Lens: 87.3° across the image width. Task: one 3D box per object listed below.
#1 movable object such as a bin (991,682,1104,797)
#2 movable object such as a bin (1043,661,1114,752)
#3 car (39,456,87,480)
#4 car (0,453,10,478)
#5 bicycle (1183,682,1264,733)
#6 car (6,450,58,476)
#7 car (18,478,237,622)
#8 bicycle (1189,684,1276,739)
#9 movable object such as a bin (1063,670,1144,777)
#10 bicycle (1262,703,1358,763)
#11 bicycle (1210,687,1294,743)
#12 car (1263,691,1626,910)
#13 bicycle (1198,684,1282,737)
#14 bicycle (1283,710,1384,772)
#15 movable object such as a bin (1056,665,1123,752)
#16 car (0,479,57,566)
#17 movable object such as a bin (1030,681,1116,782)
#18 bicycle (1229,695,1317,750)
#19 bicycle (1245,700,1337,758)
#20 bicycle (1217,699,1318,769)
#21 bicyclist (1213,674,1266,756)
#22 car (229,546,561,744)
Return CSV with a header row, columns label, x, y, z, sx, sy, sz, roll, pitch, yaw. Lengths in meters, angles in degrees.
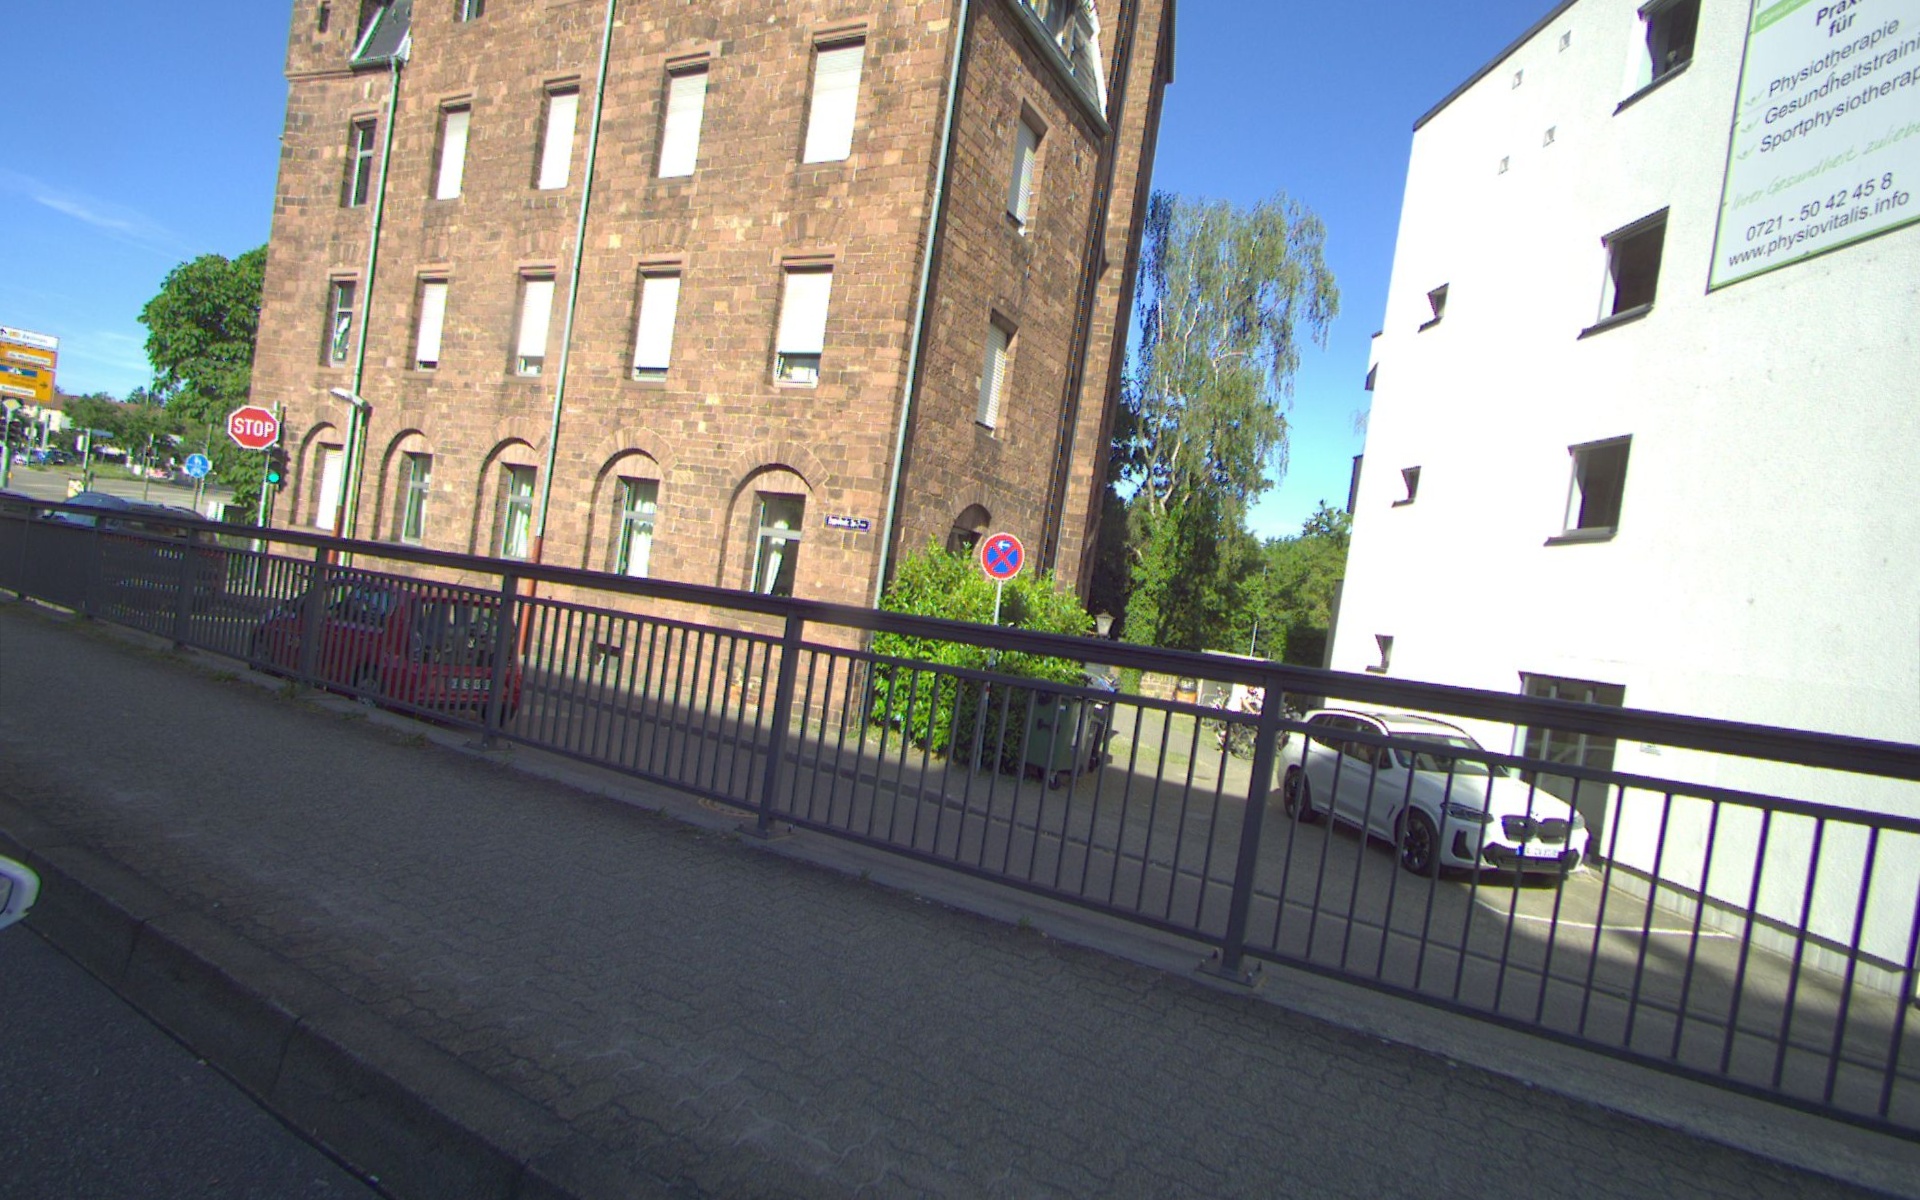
label,x,y,z,sx,sy,sz,roll,pitch,yaw
movable object such as a bin,1.187,1.847,13.525,1.011,1.307,1.005,10,0,29
movable object such as a bin,2.280,2.012,19.275,1.009,1.539,1.007,10,0,14
car,-82.312,-12.115,92.358,1.860,1.598,3.978,8,1,-22
car,-60.865,-8.562,60.988,1.963,1.459,4.293,9,1,19
bicycle,7.660,3.130,29.271,2.075,1.174,0.664,8,1,-9
car,-79.894,-11.751,86.656,1.860,1.598,3.978,8,1,-22
car,-14.704,-0.906,17.701,4.227,1.835,1.722,10,2,34
bicycle,7.402,3.021,27.386,2.075,1.174,0.664,8,1,-9
movable object such as a bin,2.396,2.012,16.668,1.009,1.539,1.007,10,0,14
bicycle,8.125,3.089,23.370,1.889,1.065,0.664,8,1,-6
bicycle,7.664,3.019,26.453,1.889,1.174,0.664,8,1,-6
car,5.963,2.400,13.155,1.814,1.707,4.521,8,0,-9
bicycle,7.904,3.128,28.418,2.075,1.174,0.664,8,1,-9
bicycle,8.329,3.133,22.456,1.889,1.065,0.664,8,1,-6
movable object such as a bin,2.641,2.178,20.464,1.009,1.539,1.007,10,0,14
car,-22.464,-1.943,23.156,4.232,1.623,1.722,10,1,39
movable object such as a bin,1.755,1.994,15.487,1.009,1.307,1.007,10,0,14
bicycle,7.865,3.077,25.286,1.889,1.065,0.664,8,1,-6
bicycle,7.970,3.108,24.258,1.889,1.065,0.664,8,1,-6
bicycle,6.528,2.842,21.390,1.807,1.155,0.688,8,2,-7
bicyclist,6.120,2.513,22.041,0.685,1.627,0.687,9,0,-7
car,-6.467,0.464,11.456,3.427,1.540,1.724,10,1,32
